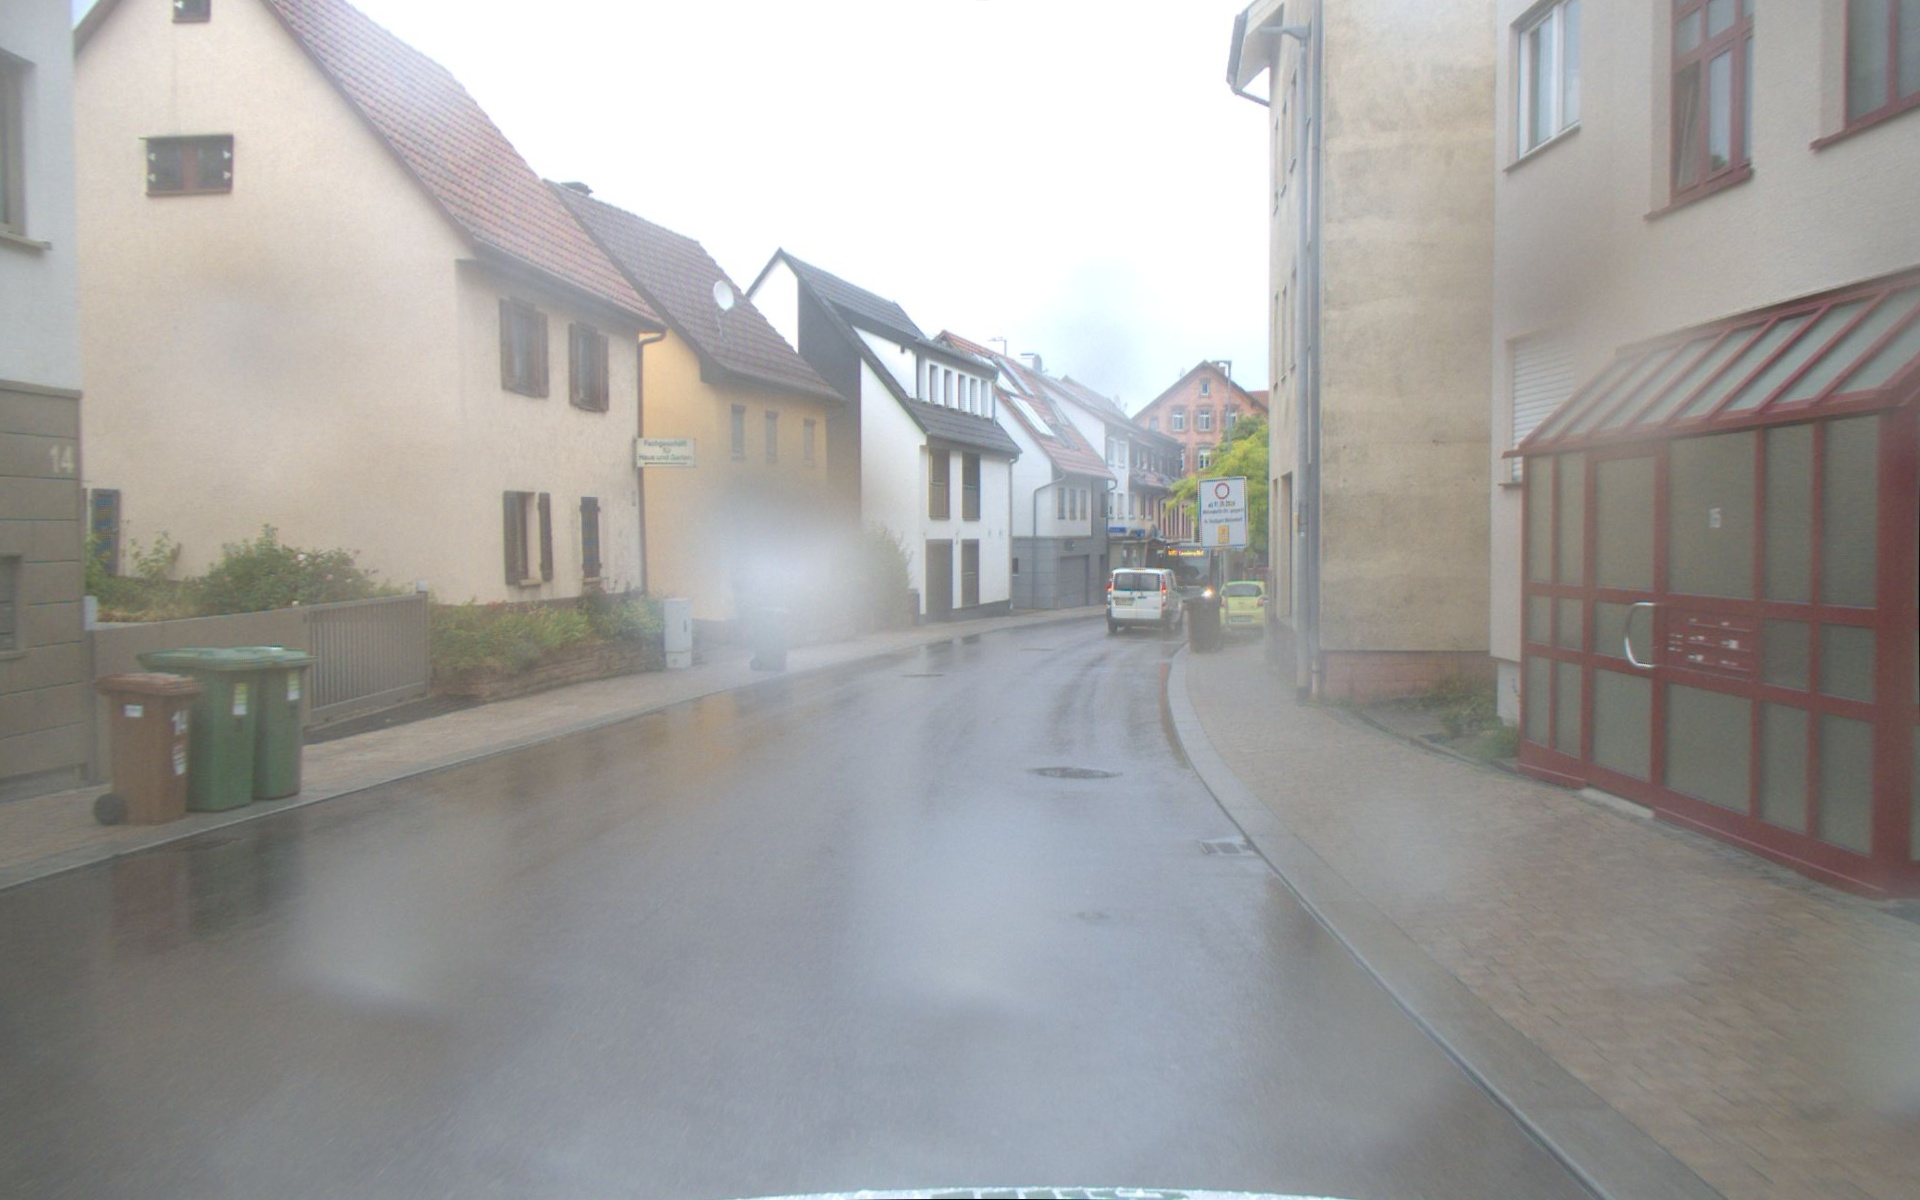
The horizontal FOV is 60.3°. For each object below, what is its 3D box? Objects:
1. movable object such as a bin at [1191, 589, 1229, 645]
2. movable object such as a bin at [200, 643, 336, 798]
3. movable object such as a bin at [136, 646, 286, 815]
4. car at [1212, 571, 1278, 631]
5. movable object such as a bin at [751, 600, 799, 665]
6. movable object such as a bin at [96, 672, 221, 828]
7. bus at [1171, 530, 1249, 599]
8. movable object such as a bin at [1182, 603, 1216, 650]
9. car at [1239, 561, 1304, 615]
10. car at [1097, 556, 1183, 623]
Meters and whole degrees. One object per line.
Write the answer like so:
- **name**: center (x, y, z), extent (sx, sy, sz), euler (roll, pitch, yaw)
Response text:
- **movable object such as a bin**: center (5.493, 0.362, 36.292), extent (0.750, 1.193, 1.542), euler (0, 0, 10)
- **movable object such as a bin**: center (-5.050, 0.864, 12.101), extent (0.667, 1.064, 0.661), euler (1, 0, 4)
- **movable object such as a bin**: center (-5.154, 0.878, 11.412), extent (0.667, 1.085, 0.695), euler (1, 0, 4)
- **car**: center (7.808, 0.001, 45.113), extent (1.569, 1.510, 3.304), euler (-2, 1, 13)
- **movable object such as a bin**: center (-3.234, 0.559, 28.903), extent (0.646, 1.074, 0.764), euler (2, 1, 6)
- **movable object such as a bin**: center (-5.177, 0.955, 10.706), extent (0.495, 0.938, 0.579), euler (1, 0, 2)
- **bus**: center (12.826, -1.907, 84.189), extent (2.682, 3.184, 9.242), euler (1, 3, 16)
- **movable object such as a bin**: center (5.421, 0.595, 37.504), extent (0.691, 1.064, 0.518), euler (1, 0, 13)
- **car**: center (10.848, -0.403, 57.420), extent (1.676, 1.792, 4.002), euler (1, 0, 19)
- **car**: center (5.438, -0.320, 49.543), extent (2.148, 1.884, 4.308), euler (0, 1, 11)
